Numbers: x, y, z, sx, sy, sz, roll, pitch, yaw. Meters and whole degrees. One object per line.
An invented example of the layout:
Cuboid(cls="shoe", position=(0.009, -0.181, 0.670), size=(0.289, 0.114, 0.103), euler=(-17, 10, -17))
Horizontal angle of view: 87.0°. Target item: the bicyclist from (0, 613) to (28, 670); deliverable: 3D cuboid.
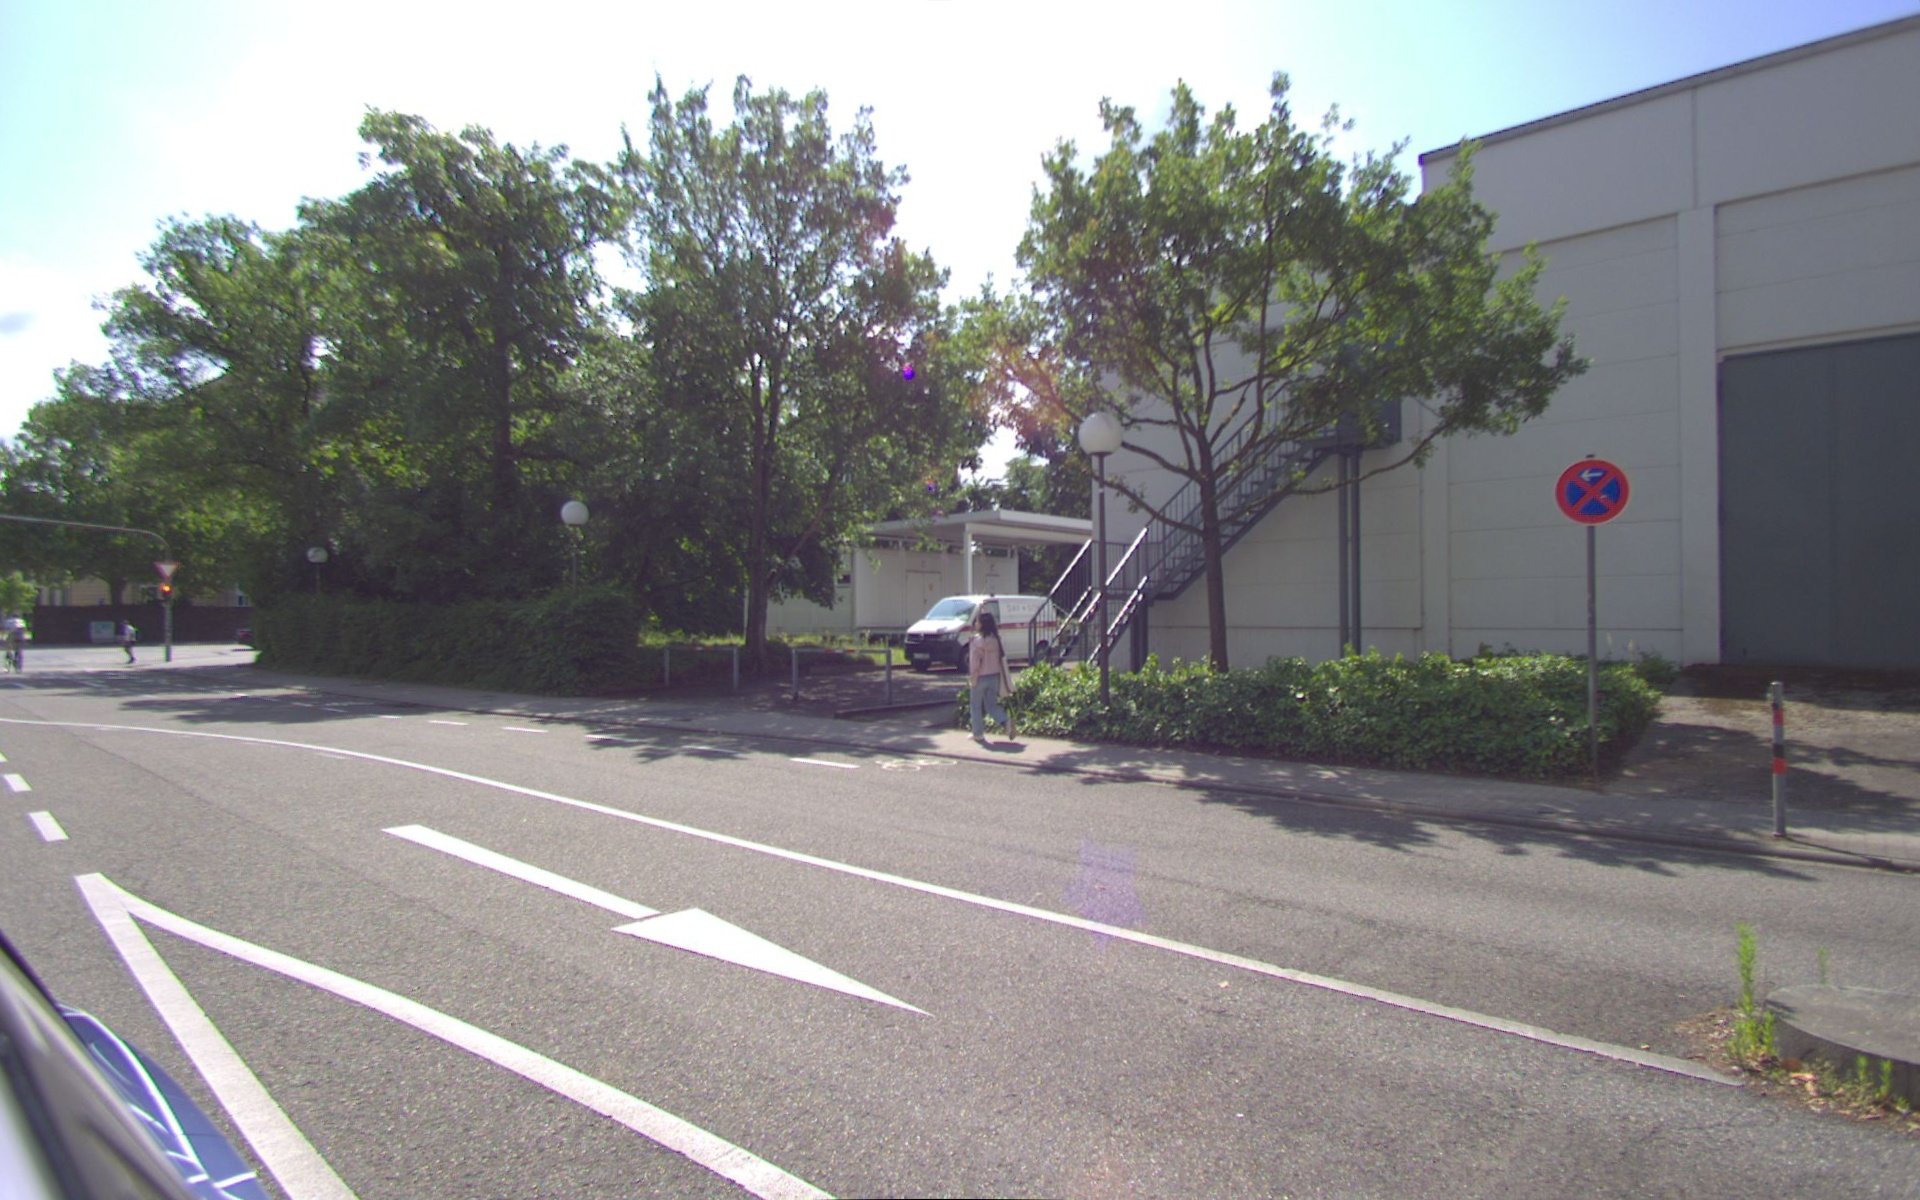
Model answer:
Cuboid(cls="bicyclist", position=(-30.069, 1.305, 32.070), size=(0.918, 1.750, 0.685), euler=(-1, -2, 41))

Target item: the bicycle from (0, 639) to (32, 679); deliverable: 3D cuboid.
Cuboid(cls="bicycle", position=(-30.005, 1.859, 32.029), size=(2.208, 1.180, 0.685), euler=(-1, -2, 41))

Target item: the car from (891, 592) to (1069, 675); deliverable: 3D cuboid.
Cuboid(cls="car", position=(0.631, 0.828, 26.972), size=(2.000, 2.001, 4.866), euler=(0, -1, 43))

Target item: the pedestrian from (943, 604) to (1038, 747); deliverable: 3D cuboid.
Cuboid(cls="pedestrian", position=(0.365, 0.878, 12.177), size=(0.883, 1.639, 0.706), euler=(-1, -2, 40))

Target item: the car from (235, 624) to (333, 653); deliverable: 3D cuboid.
Cuboid(cls="car", position=(-35.867, 2.023, 53.750), size=(4.126, 1.426, 1.833), euler=(1, -1, -42))

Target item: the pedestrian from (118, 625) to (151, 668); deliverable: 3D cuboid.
Cuboid(cls="pedestrian", position=(-33.814, 1.904, 41.455), size=(0.854, 1.714, 0.917), euler=(-3, -3, 45))
